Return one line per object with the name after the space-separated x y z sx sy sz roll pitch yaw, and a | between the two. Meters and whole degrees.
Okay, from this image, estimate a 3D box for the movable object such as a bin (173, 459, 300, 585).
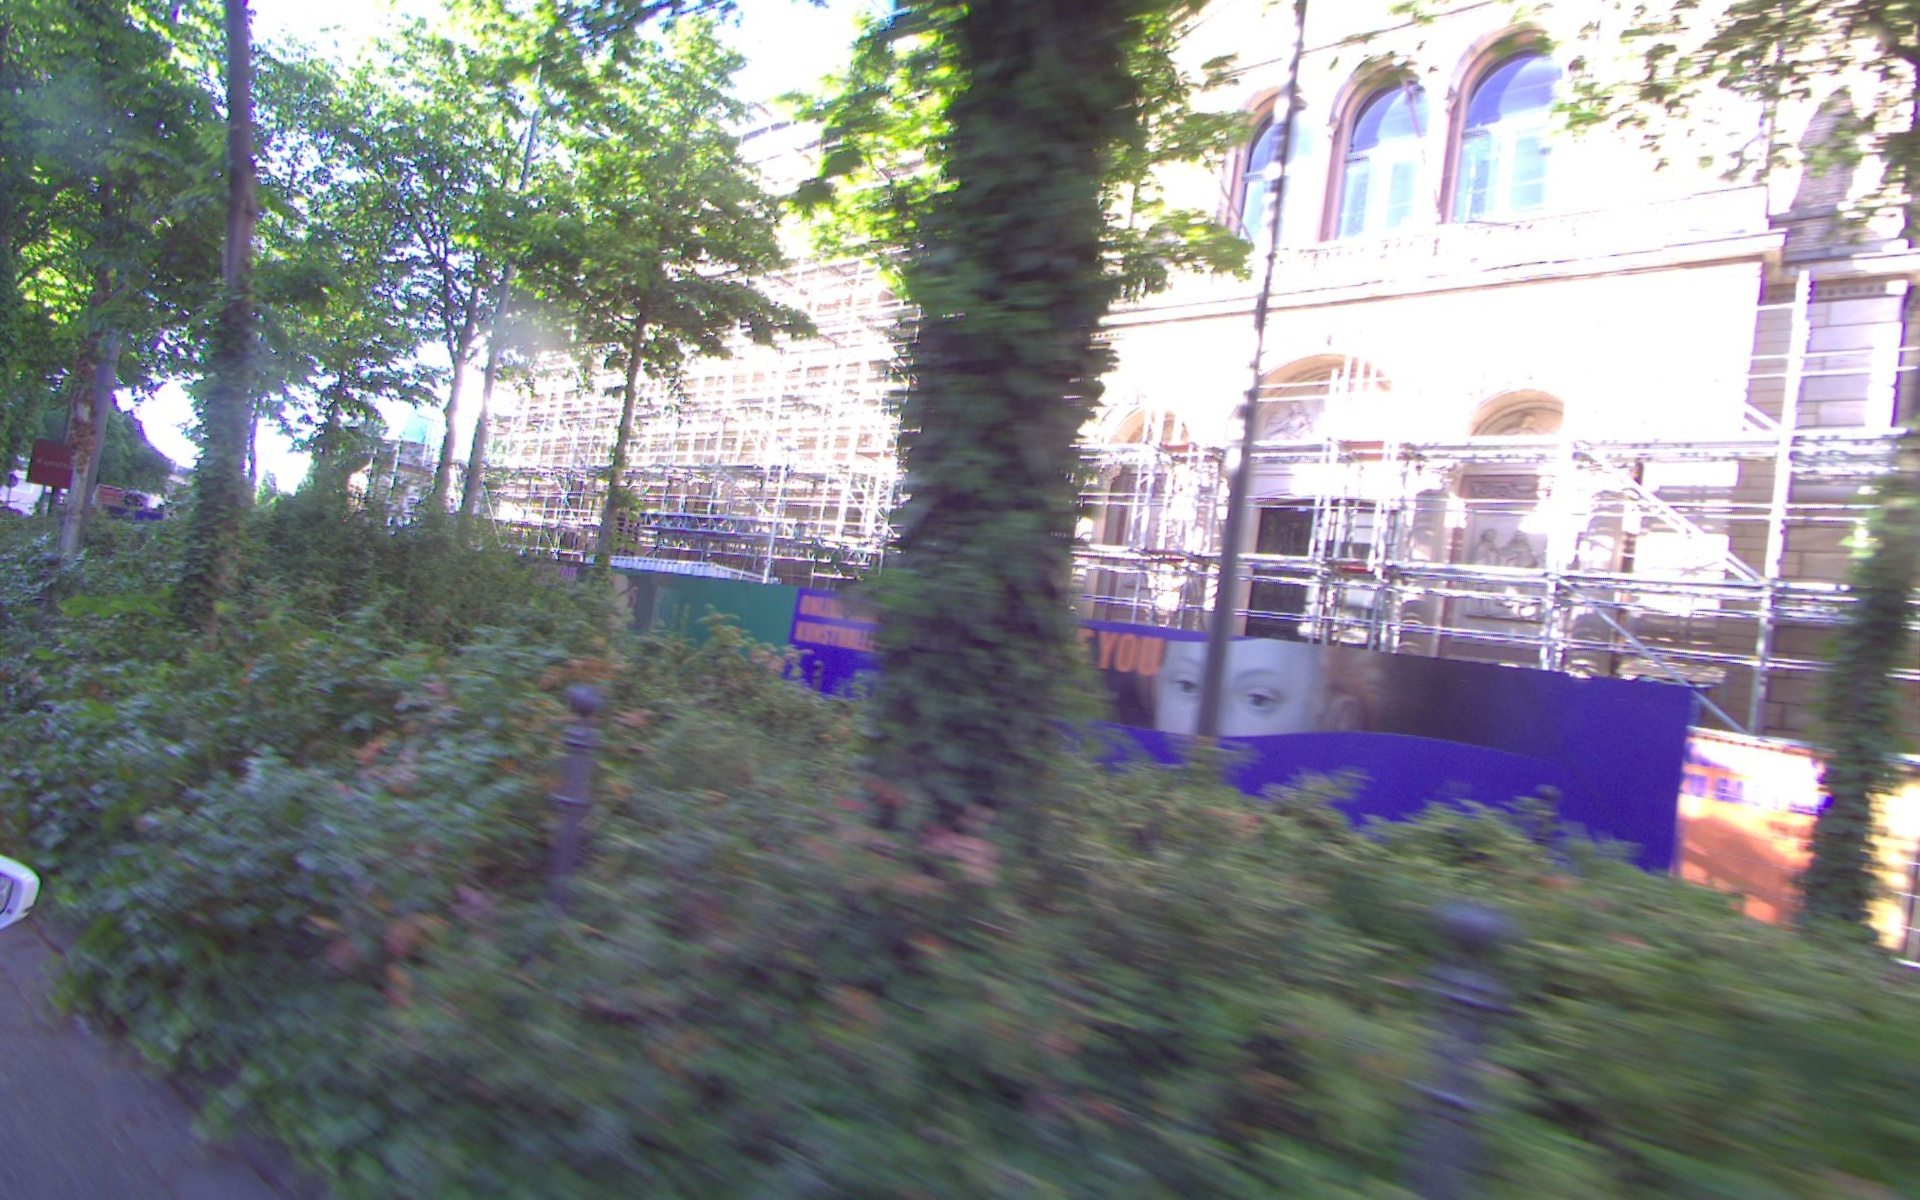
-31.854 -3.348 44.137 3.298 4.590 7.814 9 -3 -41 | movable object such as a bin
